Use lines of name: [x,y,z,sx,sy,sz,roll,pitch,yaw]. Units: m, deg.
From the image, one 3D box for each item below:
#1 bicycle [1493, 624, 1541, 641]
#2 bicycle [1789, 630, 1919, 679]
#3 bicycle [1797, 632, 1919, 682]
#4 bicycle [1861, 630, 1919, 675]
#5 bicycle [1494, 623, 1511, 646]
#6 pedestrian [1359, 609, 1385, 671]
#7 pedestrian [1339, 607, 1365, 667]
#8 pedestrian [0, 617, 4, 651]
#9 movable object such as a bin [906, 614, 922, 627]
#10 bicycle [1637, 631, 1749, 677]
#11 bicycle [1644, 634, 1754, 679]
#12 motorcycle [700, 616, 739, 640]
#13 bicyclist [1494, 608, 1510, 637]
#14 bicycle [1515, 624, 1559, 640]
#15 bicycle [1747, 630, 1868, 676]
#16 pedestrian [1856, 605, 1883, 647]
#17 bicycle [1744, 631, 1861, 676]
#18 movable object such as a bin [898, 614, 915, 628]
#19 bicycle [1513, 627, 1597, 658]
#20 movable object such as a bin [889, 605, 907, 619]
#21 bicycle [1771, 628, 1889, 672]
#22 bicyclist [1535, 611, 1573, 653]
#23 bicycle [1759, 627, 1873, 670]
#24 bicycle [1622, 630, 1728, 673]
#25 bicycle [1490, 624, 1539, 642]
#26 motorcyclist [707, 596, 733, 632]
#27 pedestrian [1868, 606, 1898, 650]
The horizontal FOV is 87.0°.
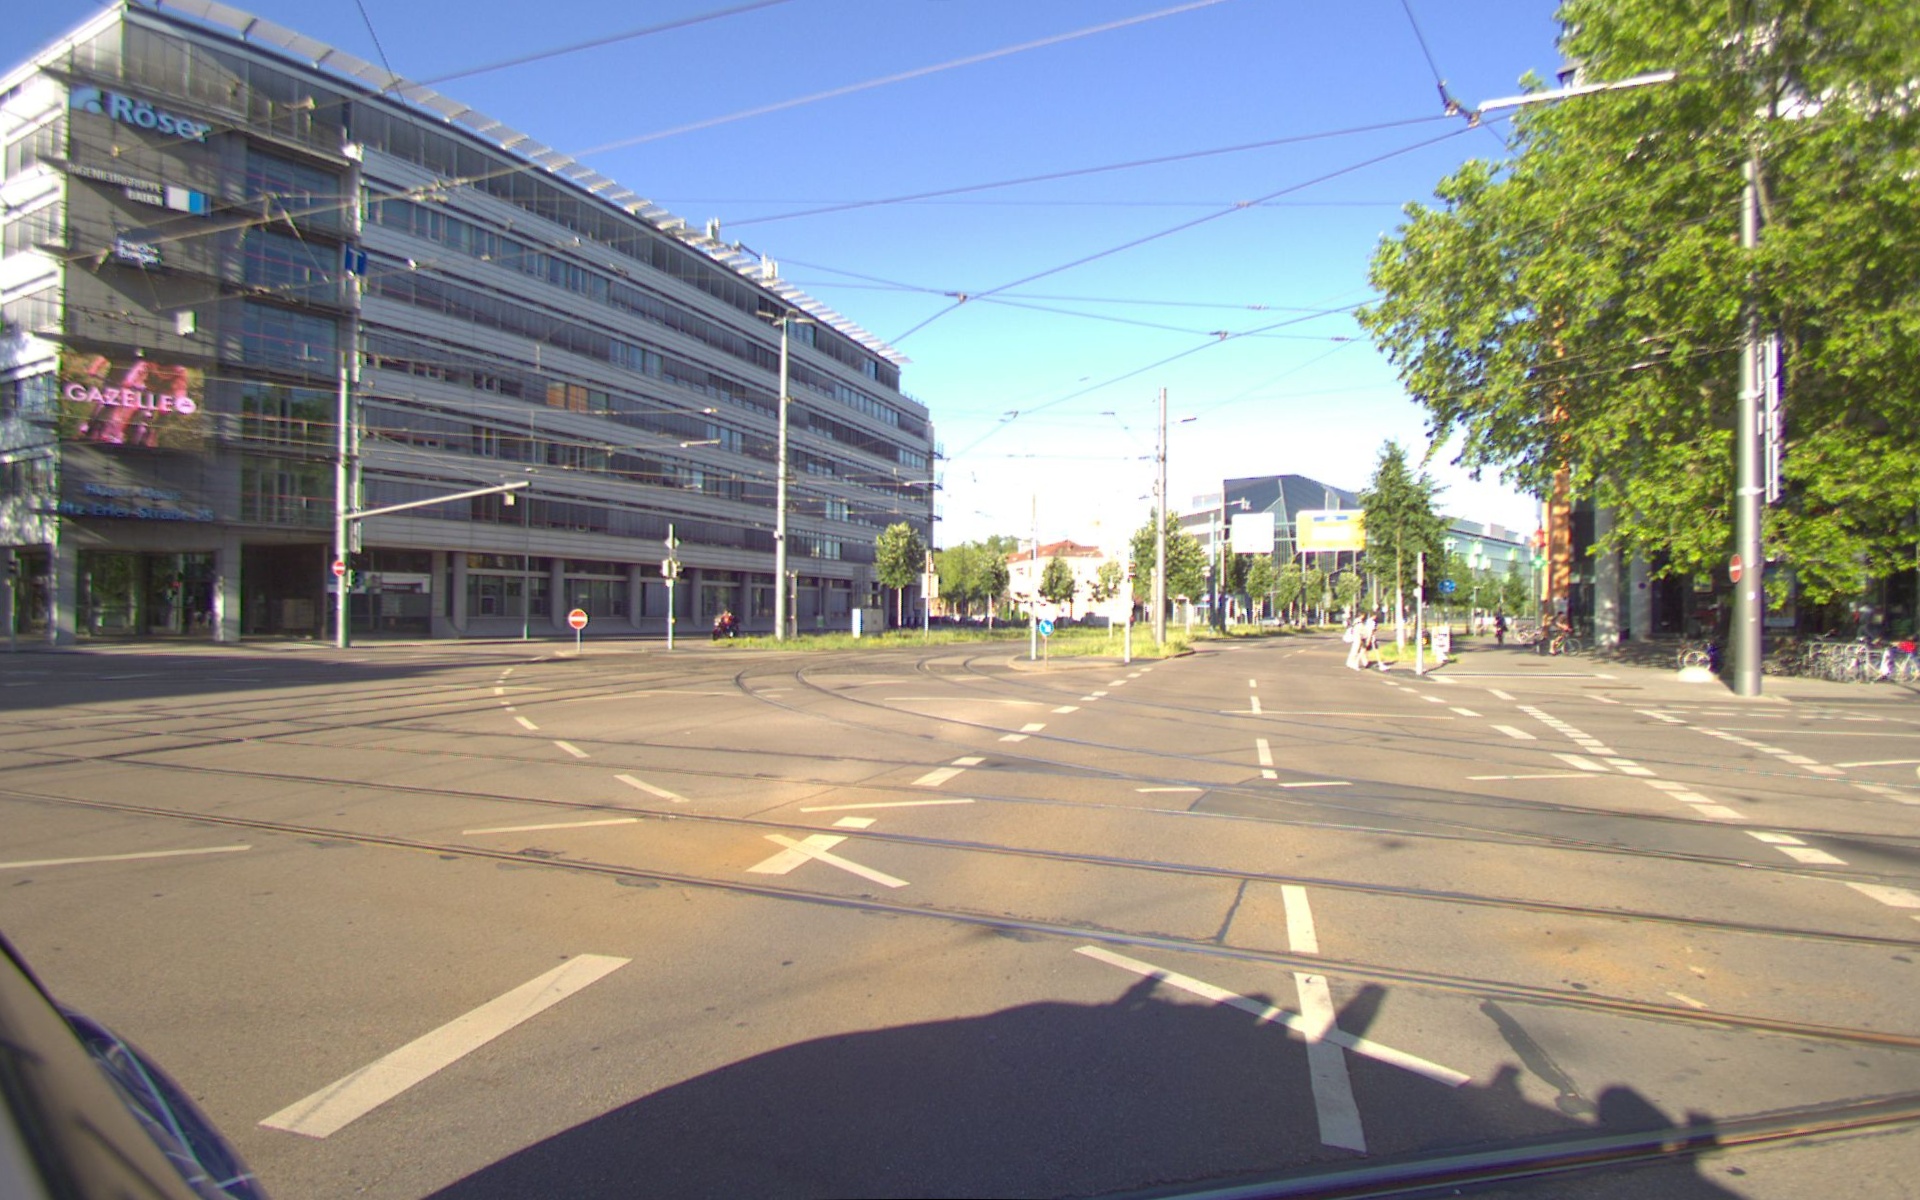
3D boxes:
bicycle: [36.462,2.120,66.287,2.687,1.112,0.884,0,-1,37]
bicycle: [22.490,1.356,25.511,2.354,1.137,0.594,0,-1,26]
bicycle: [21.786,1.367,24.430,2.354,1.137,0.594,0,-1,26]
bicycle: [24.727,1.356,25.937,2.354,1.137,0.594,0,-1,26]
bicycle: [28.072,1.763,52.381,0.690,1.145,1.835,0,0,25]
pedestrian: [12.701,1.222,31.190,0.729,1.884,0.668,0,0,23]
pedestrian: [12.497,1.169,32.252,0.729,1.884,0.693,0,0,25]
pedestrian: [-35.048,1.230,36.679,0.459,1.219,0.440,-1,-1,23]
movable object such as a bin: [-4.510,2.014,99.218,1.168,1.311,1.317,0,0,26]
bicycle: [19.614,1.435,27.135,2.355,1.137,0.593,0,-1,27]
bicycle: [20.135,1.522,27.624,2.355,1.137,0.593,0,-1,27]
motorcycle: [-12.591,1.461,53.125,0.816,1.230,2.238,1,0,23]
bicyclist: [28.106,1.162,52.471,0.690,1.472,0.747,0,0,26]
bicycle: [41.835,2.335,73.334,2.687,1.112,0.884,0,-1,37]
bicycle: [22.385,1.383,26.781,2.354,1.137,0.594,0,-1,26]
pedestrian: [36.425,1.024,40.540,0.704,1.665,0.690,0,0,35]
bicycle: [22.725,1.438,27.351,2.354,1.137,0.594,0,-1,26]
movable object such as a bin: [-5.183,2.014,98.065,1.168,1.311,1.317,0,0,26]
bicycle: [22.745,1.613,38.749,0.881,1.112,2.699,1,-1,-32]
movable object such as a bin: [-5.821,1.115,94.920,1.322,1.311,1.164,0,0,26]
bicycle: [23.697,1.351,27.608,2.354,1.137,0.594,0,-1,26]
bicyclist: [22.749,1.215,38.762,0.881,1.560,0.942,1,-1,-33]
bicycle: [24.115,1.351,28.561,2.354,1.137,0.594,0,-1,26]
bicycle: [20.112,1.437,28.519,2.355,1.137,0.593,0,-1,27]
bicycle: [35.856,2.099,65.449,2.687,1.112,0.884,0,-1,37]
motorcyclist: [-12.577,0.735,53.137,0.816,1.871,1.103,1,0,23]
pedestrian: [35.621,1.080,39.052,0.696,1.665,0.698,0,0,30]
